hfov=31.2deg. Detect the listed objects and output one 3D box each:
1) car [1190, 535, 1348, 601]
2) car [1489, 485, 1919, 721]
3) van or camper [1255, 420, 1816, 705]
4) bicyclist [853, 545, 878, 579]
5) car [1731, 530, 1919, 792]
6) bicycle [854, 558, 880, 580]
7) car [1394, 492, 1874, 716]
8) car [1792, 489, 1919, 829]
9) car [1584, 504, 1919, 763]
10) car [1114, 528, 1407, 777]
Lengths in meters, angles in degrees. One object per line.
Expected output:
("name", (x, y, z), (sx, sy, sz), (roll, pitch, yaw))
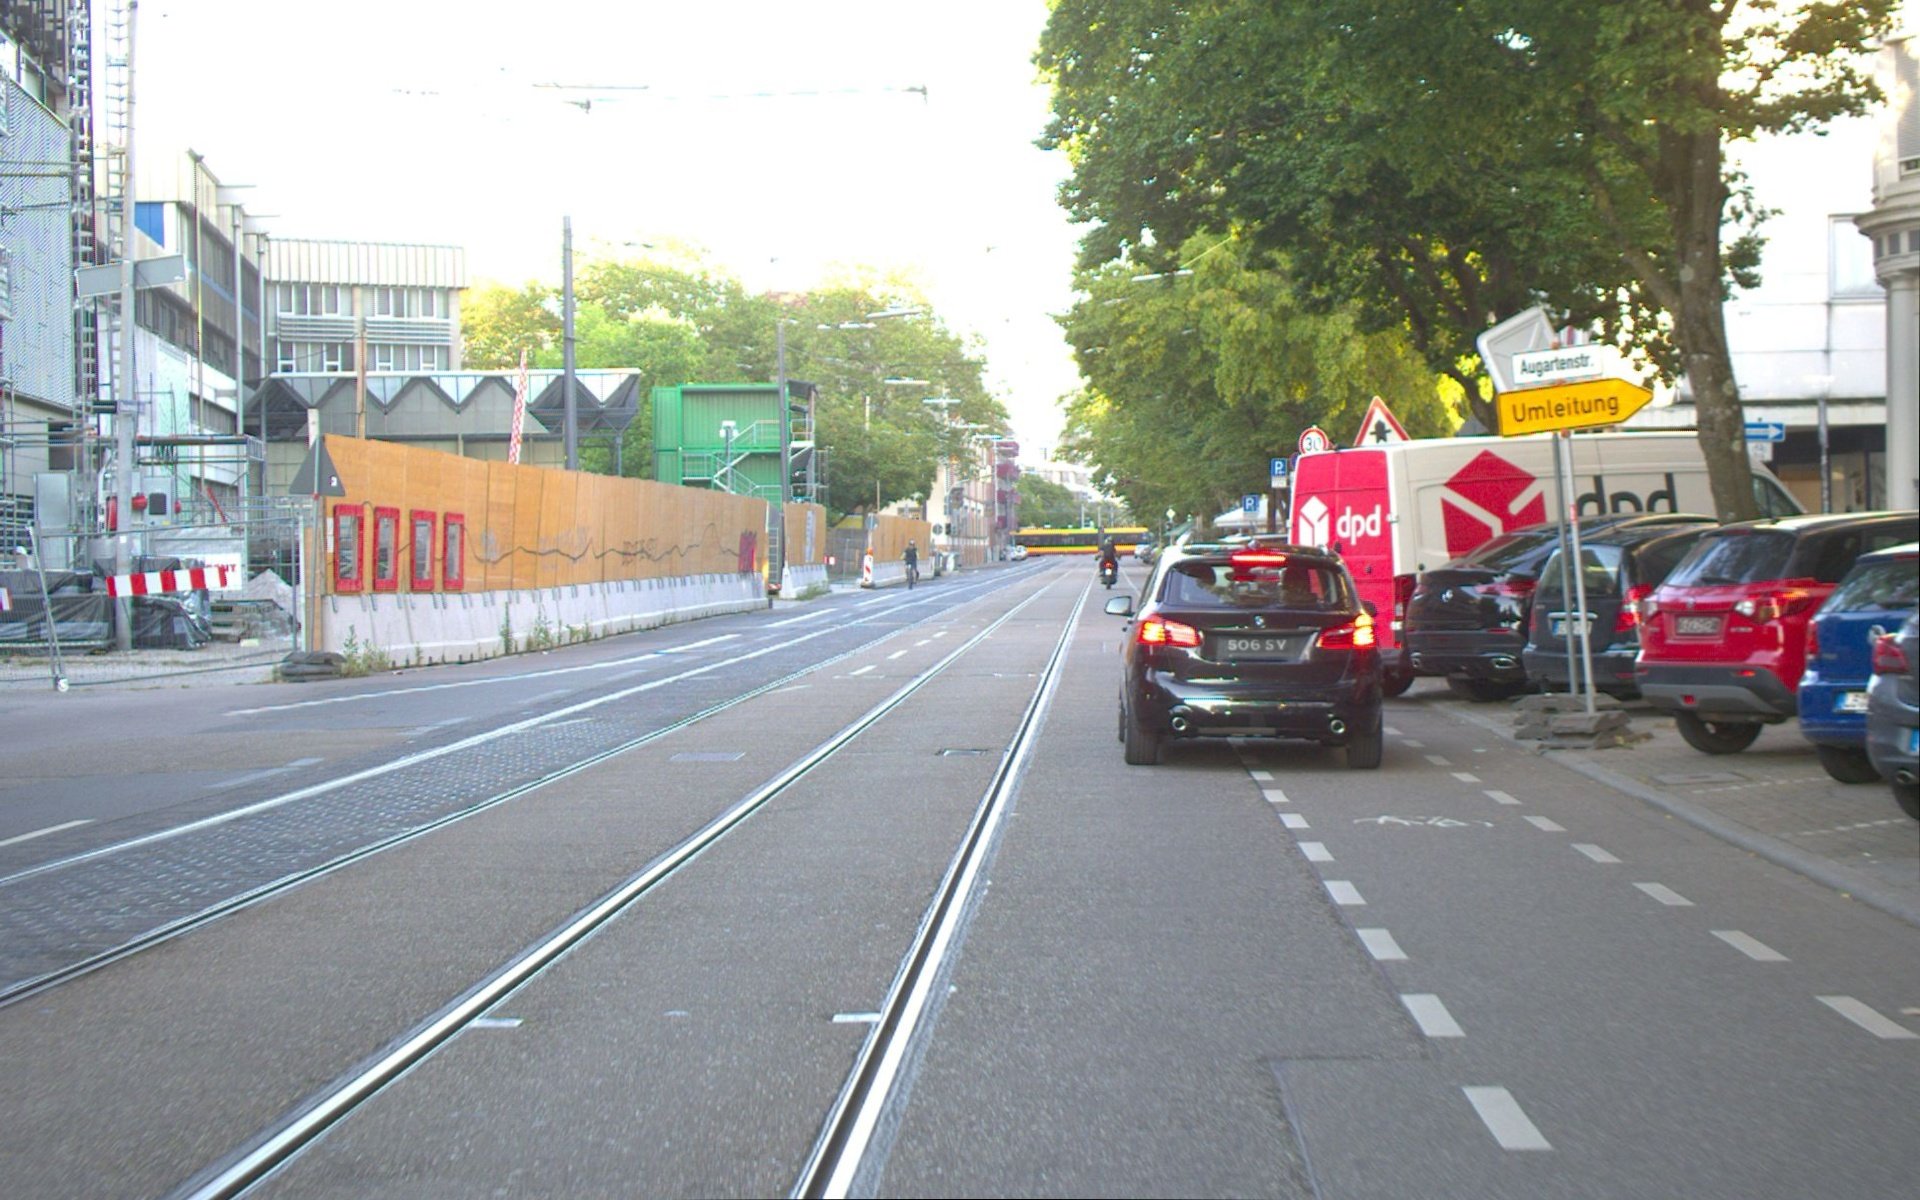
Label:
("car", (8.390, -0.872, 93.372), (3.941, 1.716, 1.635), (-1, 1, -11))
("car", (6.810, -0.012, 29.742), (3.941, 1.759, 1.841), (-4, 1, -24))
("van or camper", (5.947, -0.415, 35.247), (5.532, 2.522, 2.086), (-4, 1, -32))
("bicyclist", (-3.758, -1.506, 137.093), (0.944, 1.341, 1.111), (-1, 1, 0))
("car", (6.519, 0.278, 20.354), (3.640, 1.440, 1.660), (-3, 0, -32))
("bicycle", (-3.730, -1.253, 137.878), (0.948, 0.846, 2.697), (-1, 1, 0))
("car", (6.265, 0.024, 31.968), (3.941, 1.759, 1.841), (-4, 1, -24))
("car", (6.287, 0.202, 17.025), (3.942, 1.598, 1.840), (-2, -1, -29))
("car", (6.463, 0.154, 23.402), (3.941, 1.598, 1.841), (-3, 0, -24))
("car", (2.105, 0.312, 25.079), (1.882, 1.614, 4.000), (2, 1, 2))
